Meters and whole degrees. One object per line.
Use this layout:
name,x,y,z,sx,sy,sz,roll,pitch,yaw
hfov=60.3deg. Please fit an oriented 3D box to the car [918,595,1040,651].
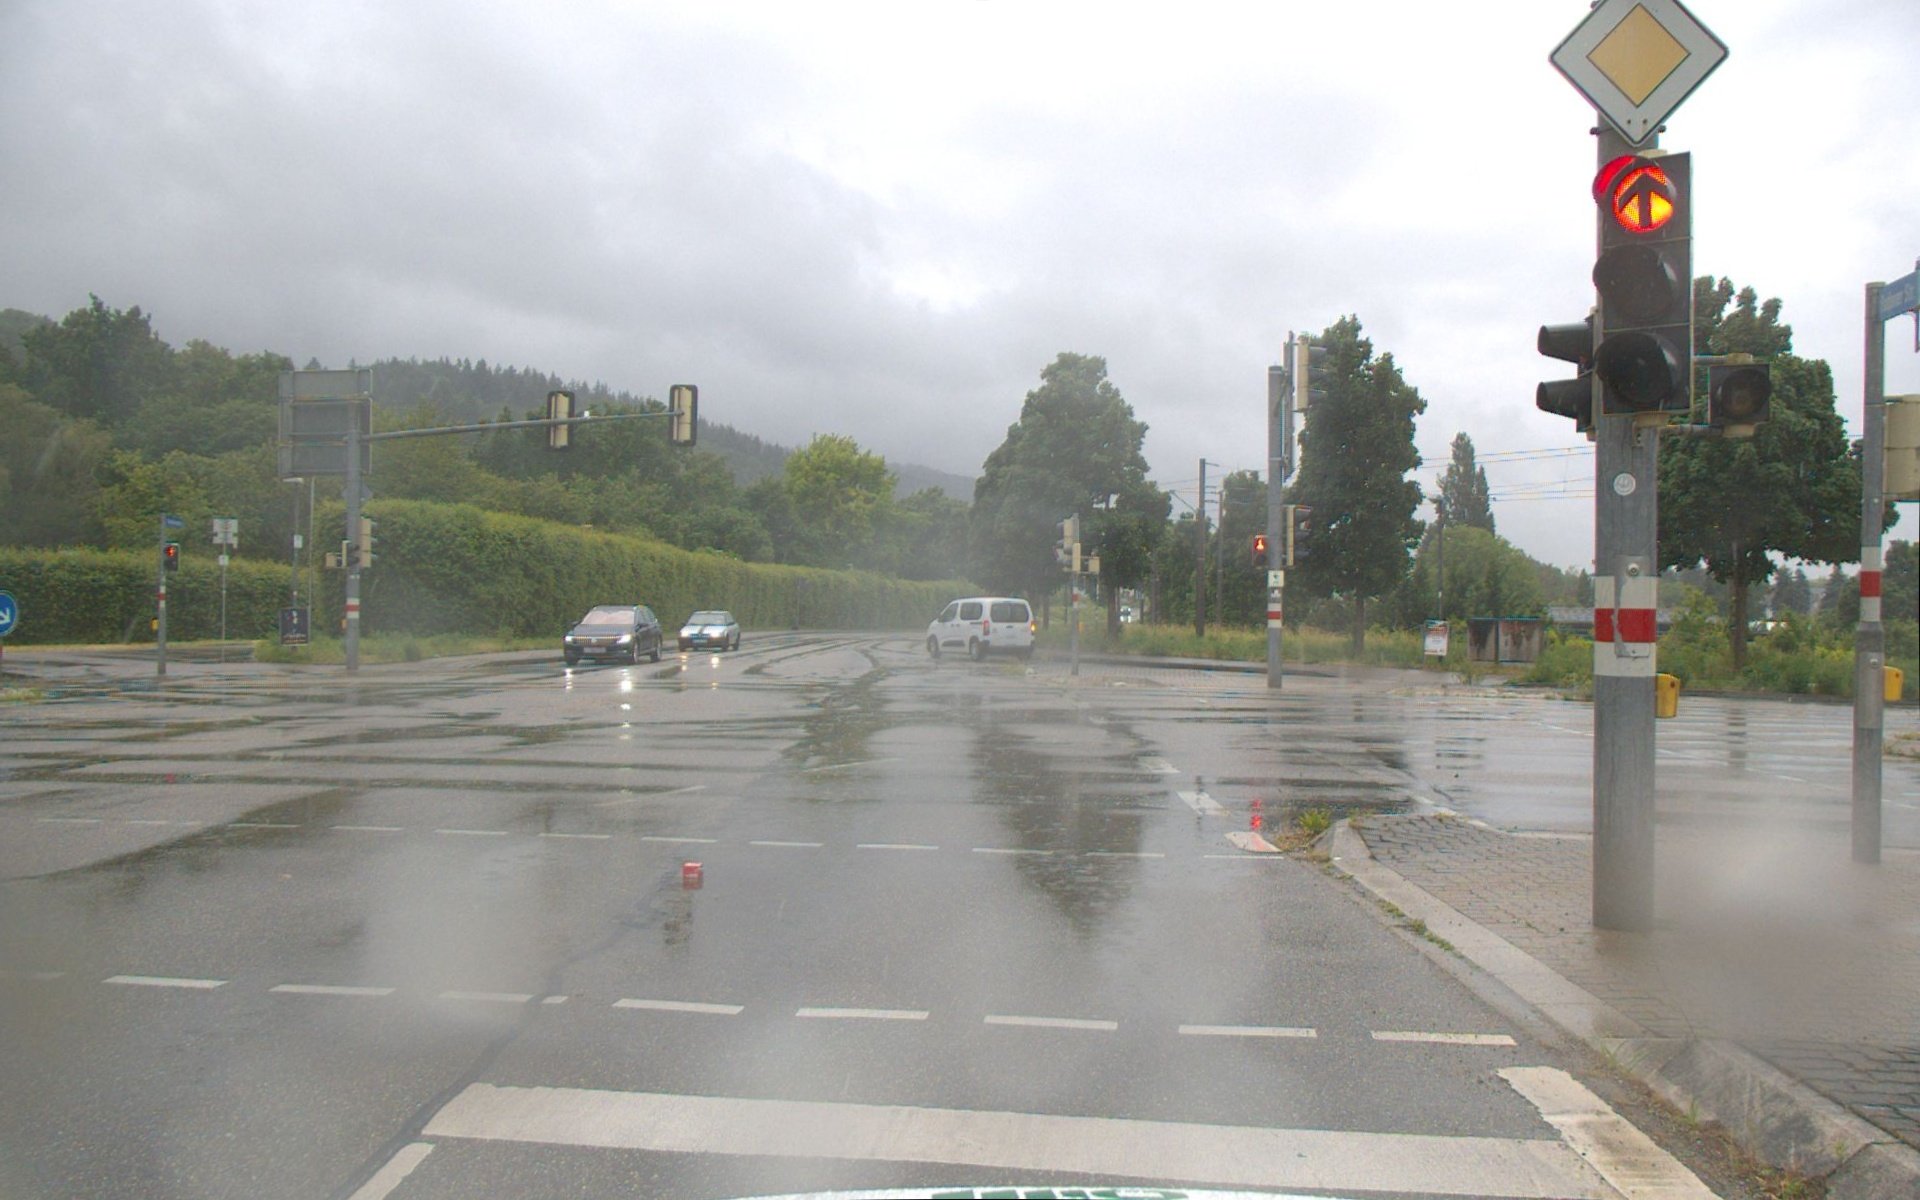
car,0.515,0.642,48.880,1.796,1.581,4.309,0,0,-28

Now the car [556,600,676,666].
car,-8.960,0.819,43.470,1.839,1.601,4.647,-1,0,4

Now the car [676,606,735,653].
car,-8.798,1.000,57.384,1.526,1.507,3.360,-1,0,0
